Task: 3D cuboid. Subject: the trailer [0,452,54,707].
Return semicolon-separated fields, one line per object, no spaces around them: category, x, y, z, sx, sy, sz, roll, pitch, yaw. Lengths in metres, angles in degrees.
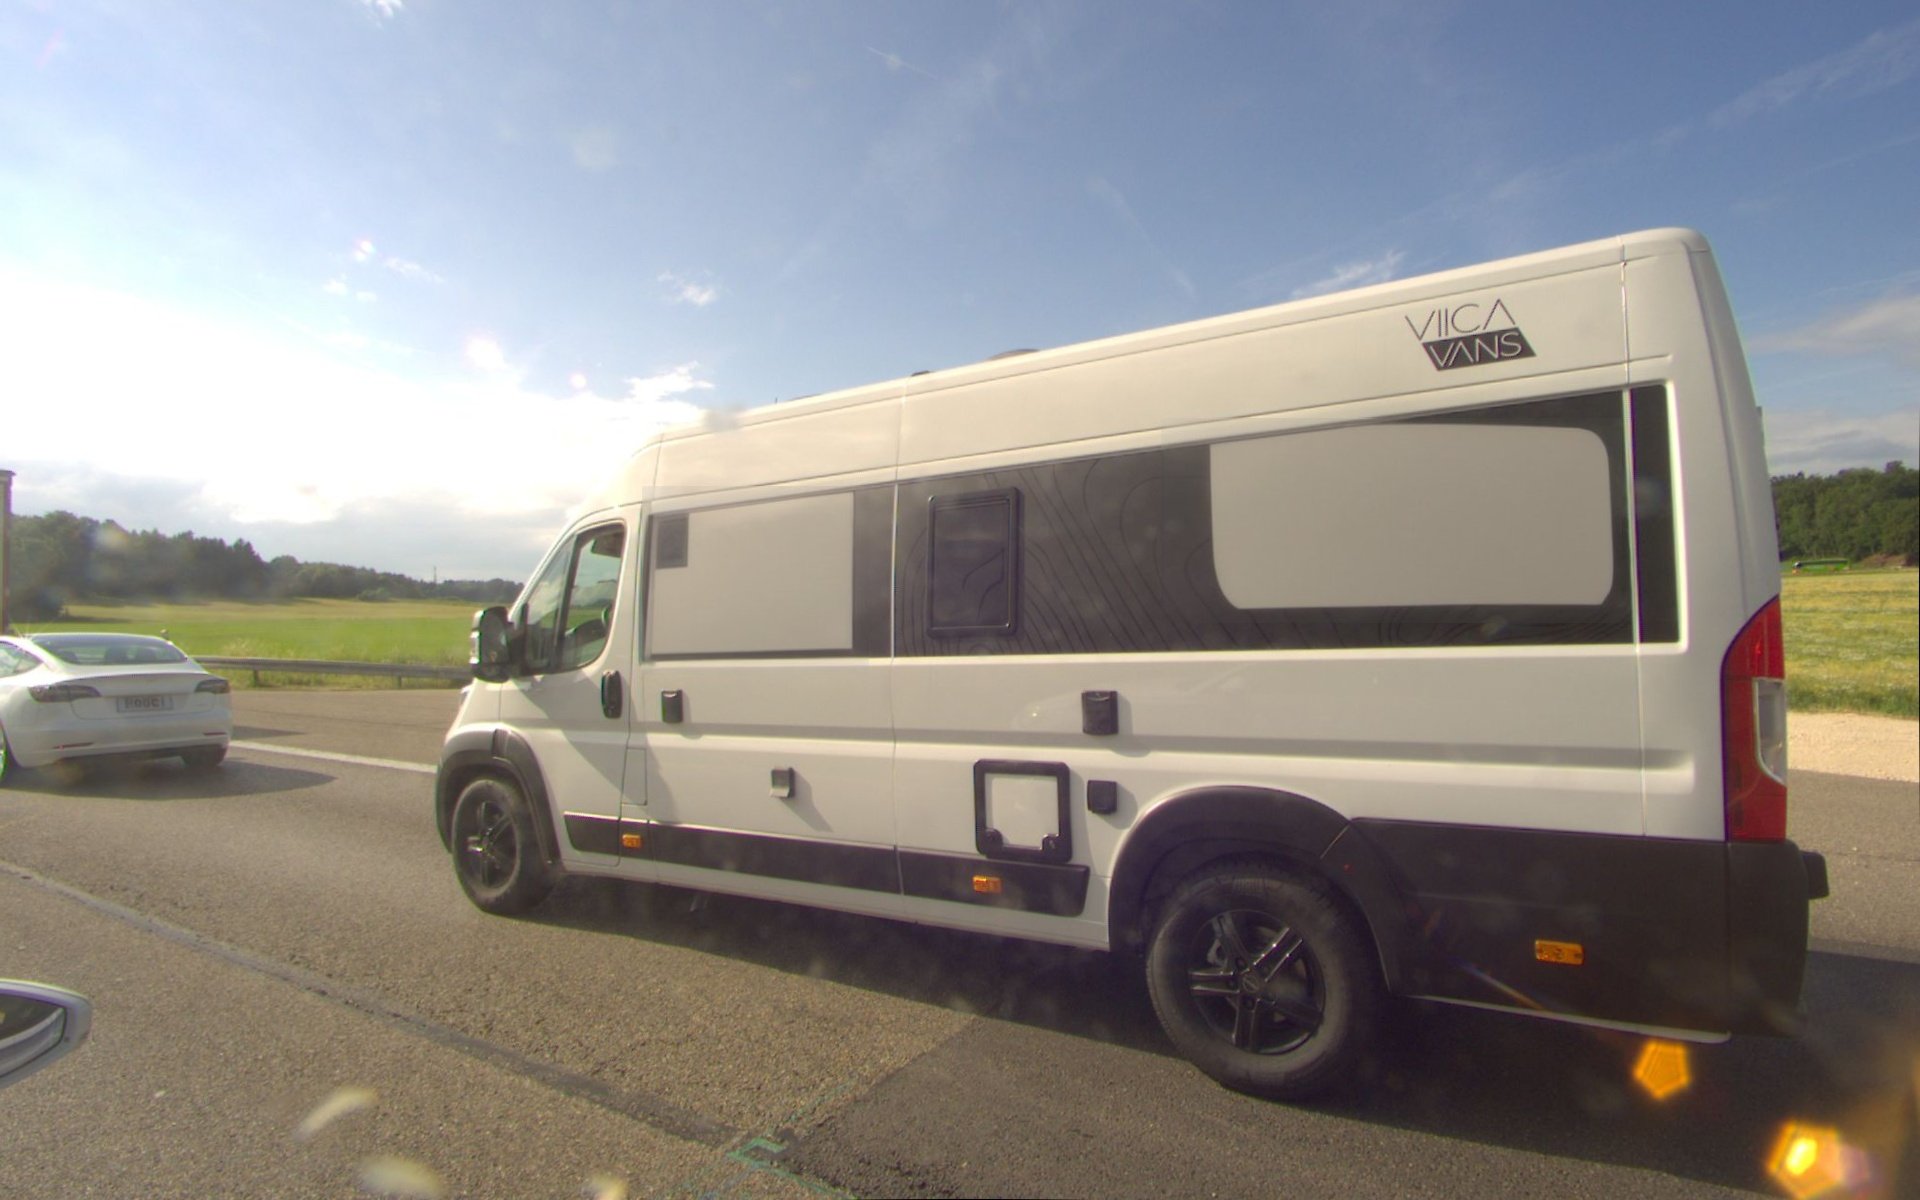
trailer;-21.286;-0.134;18.762;13.181;4.061;3.125;-2;-2;33

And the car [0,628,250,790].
car;-9.682;1.020;10.764;4.372;1.412;1.786;-1;-1;31

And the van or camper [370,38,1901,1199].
van or camper;-0.019;0.190;4.801;6.241;2.716;2.211;-1;-1;32
